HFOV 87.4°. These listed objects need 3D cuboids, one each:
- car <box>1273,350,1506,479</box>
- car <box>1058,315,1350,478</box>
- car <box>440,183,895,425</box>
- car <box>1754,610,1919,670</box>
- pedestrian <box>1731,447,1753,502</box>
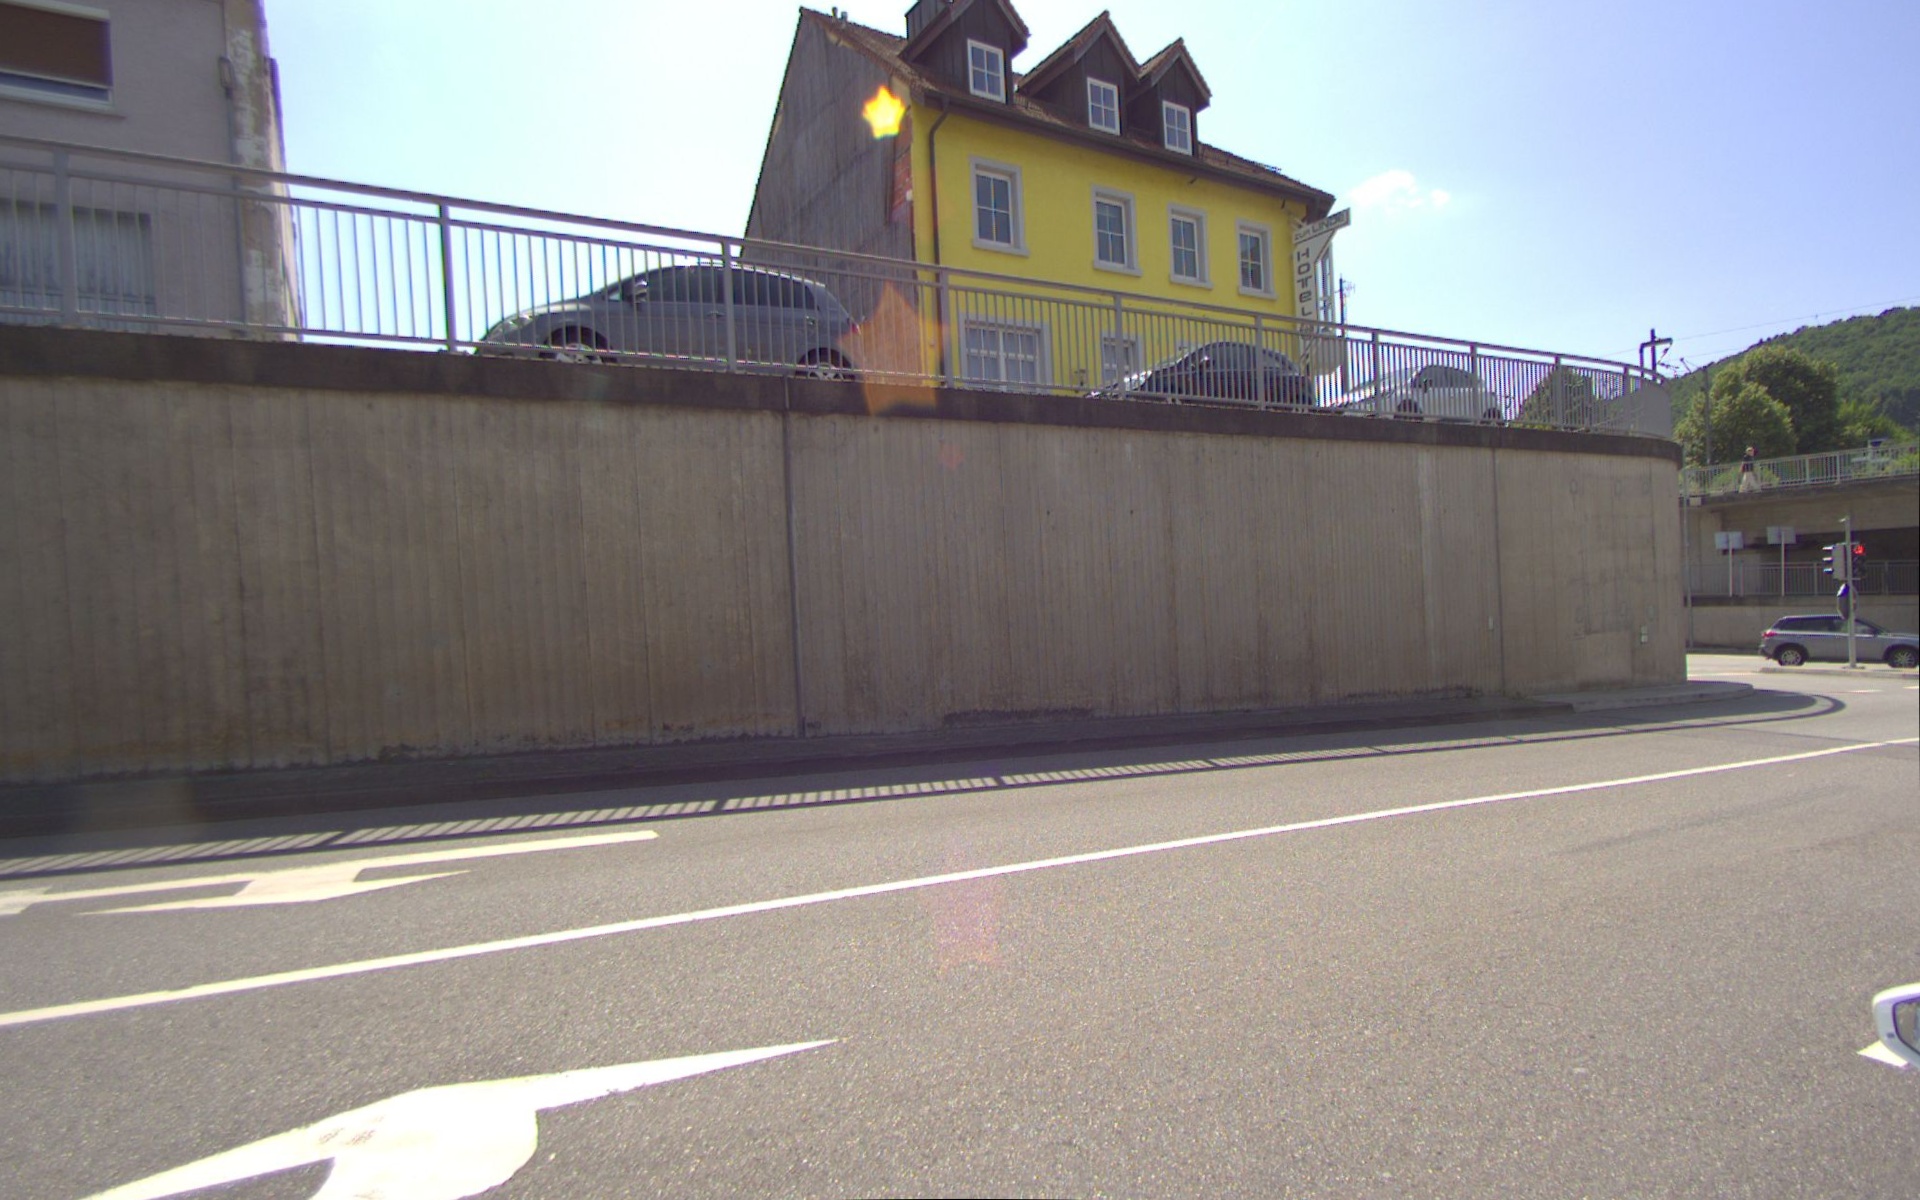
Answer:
[{"bbox_3d":[7.657,-3.170,17.843,3.955,1.690,1.892,-2,1,-32],"label":"car"},{"bbox_3d":[3.672,-2.859,14.890,4.176,1.728,1.812,-2,1,-33],"label":"car"},{"bbox_3d":[-3.041,-2.934,10.766,4.345,1.545,1.788,-2,1,-33],"label":"car"},{"bbox_3d":[26.450,1.166,30.176,3.943,1.639,1.800,-1,1,43],"label":"car"},{"bbox_3d":[31.291,-5.005,40.205,0.531,2.108,0.571,1,-2,-40],"label":"pedestrian"}]
